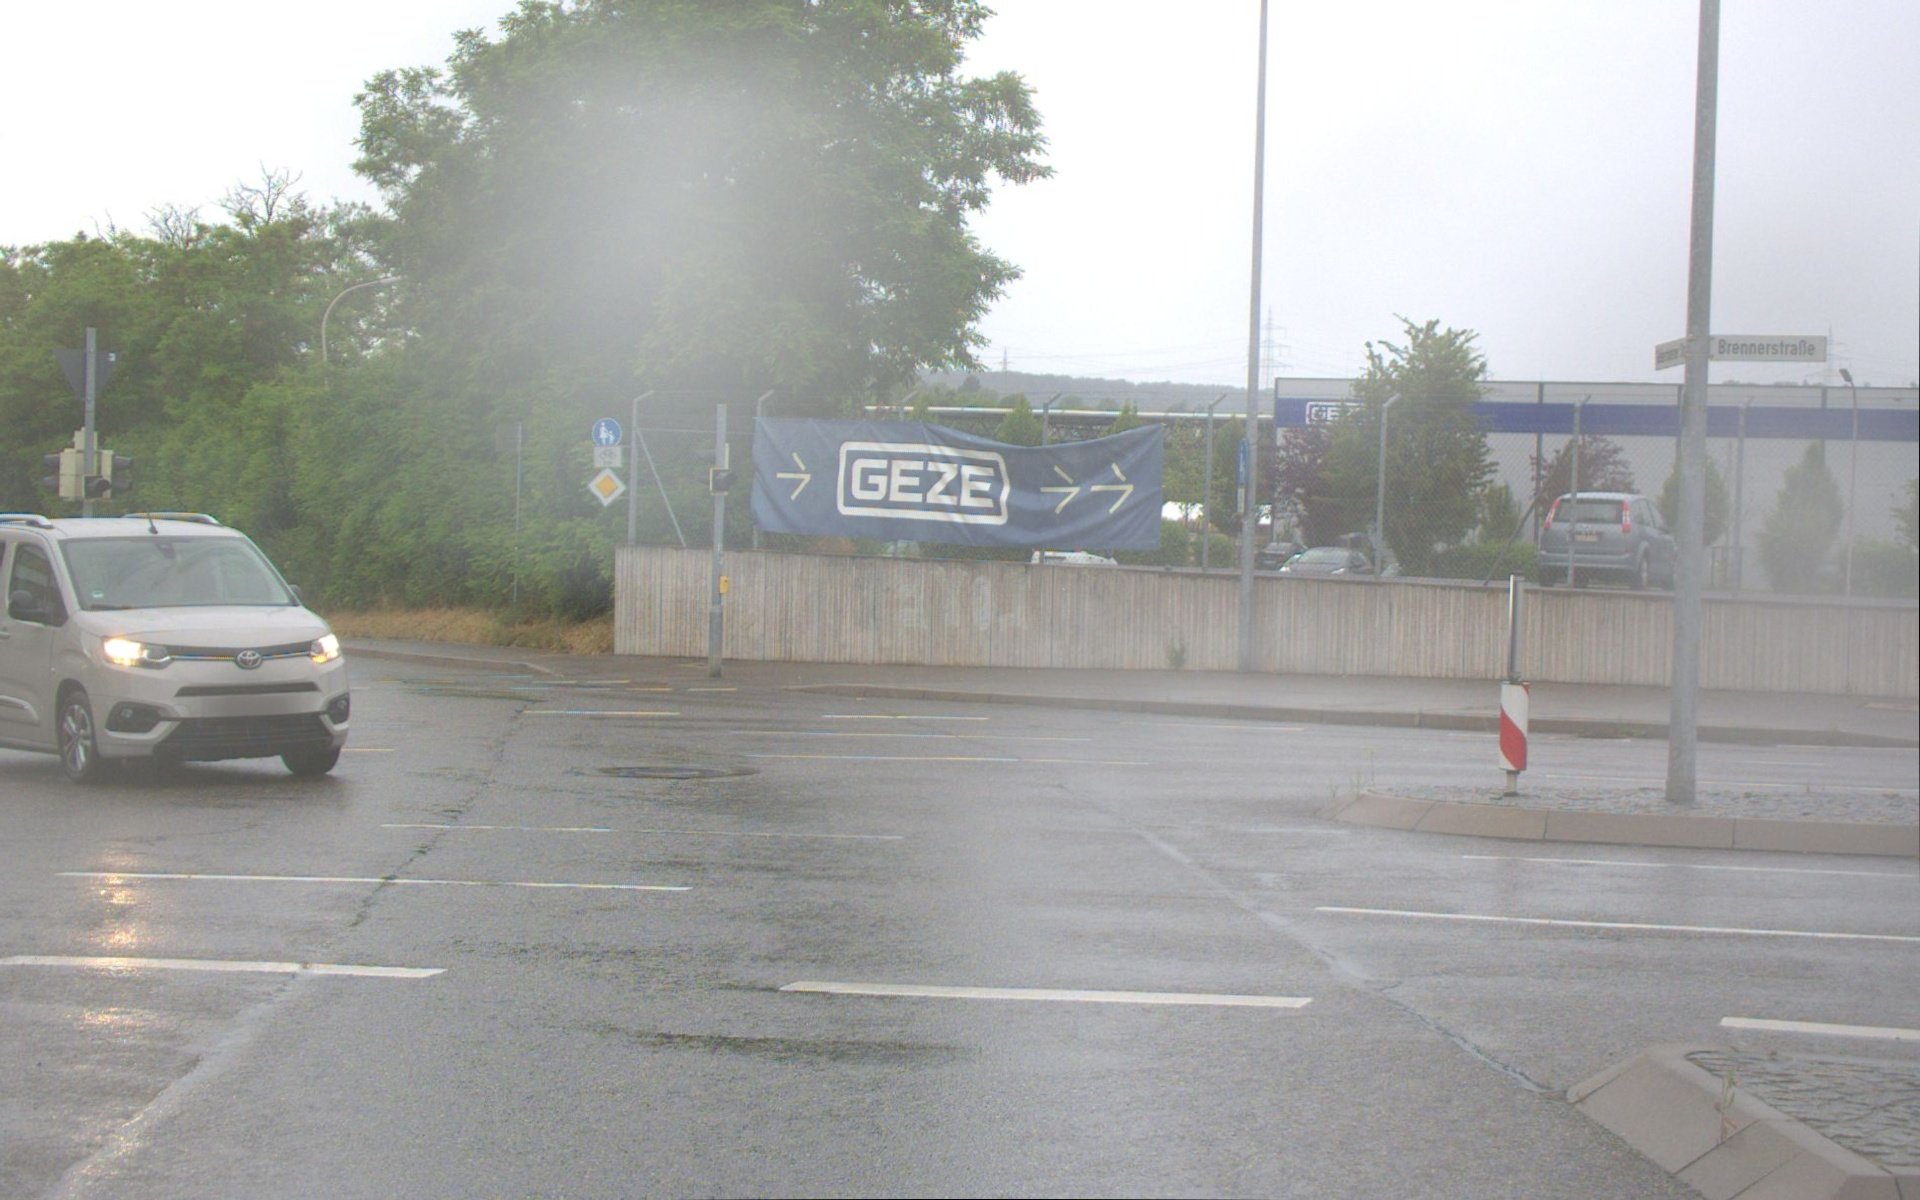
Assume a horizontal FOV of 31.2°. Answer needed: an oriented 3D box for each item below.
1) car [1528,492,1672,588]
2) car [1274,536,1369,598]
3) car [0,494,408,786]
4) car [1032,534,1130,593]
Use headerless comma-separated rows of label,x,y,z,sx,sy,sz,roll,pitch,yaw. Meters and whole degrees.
car,10.719,-0.989,57.424,1.744,1.548,3.527,1,1,21
car,9.759,-0.882,92.588,1.668,1.601,3.527,1,1,21
car,-5.729,0.222,24.056,1.994,1.837,4.483,0,1,-34
car,3.405,-1.003,95.891,1.668,1.601,3.527,1,1,21
